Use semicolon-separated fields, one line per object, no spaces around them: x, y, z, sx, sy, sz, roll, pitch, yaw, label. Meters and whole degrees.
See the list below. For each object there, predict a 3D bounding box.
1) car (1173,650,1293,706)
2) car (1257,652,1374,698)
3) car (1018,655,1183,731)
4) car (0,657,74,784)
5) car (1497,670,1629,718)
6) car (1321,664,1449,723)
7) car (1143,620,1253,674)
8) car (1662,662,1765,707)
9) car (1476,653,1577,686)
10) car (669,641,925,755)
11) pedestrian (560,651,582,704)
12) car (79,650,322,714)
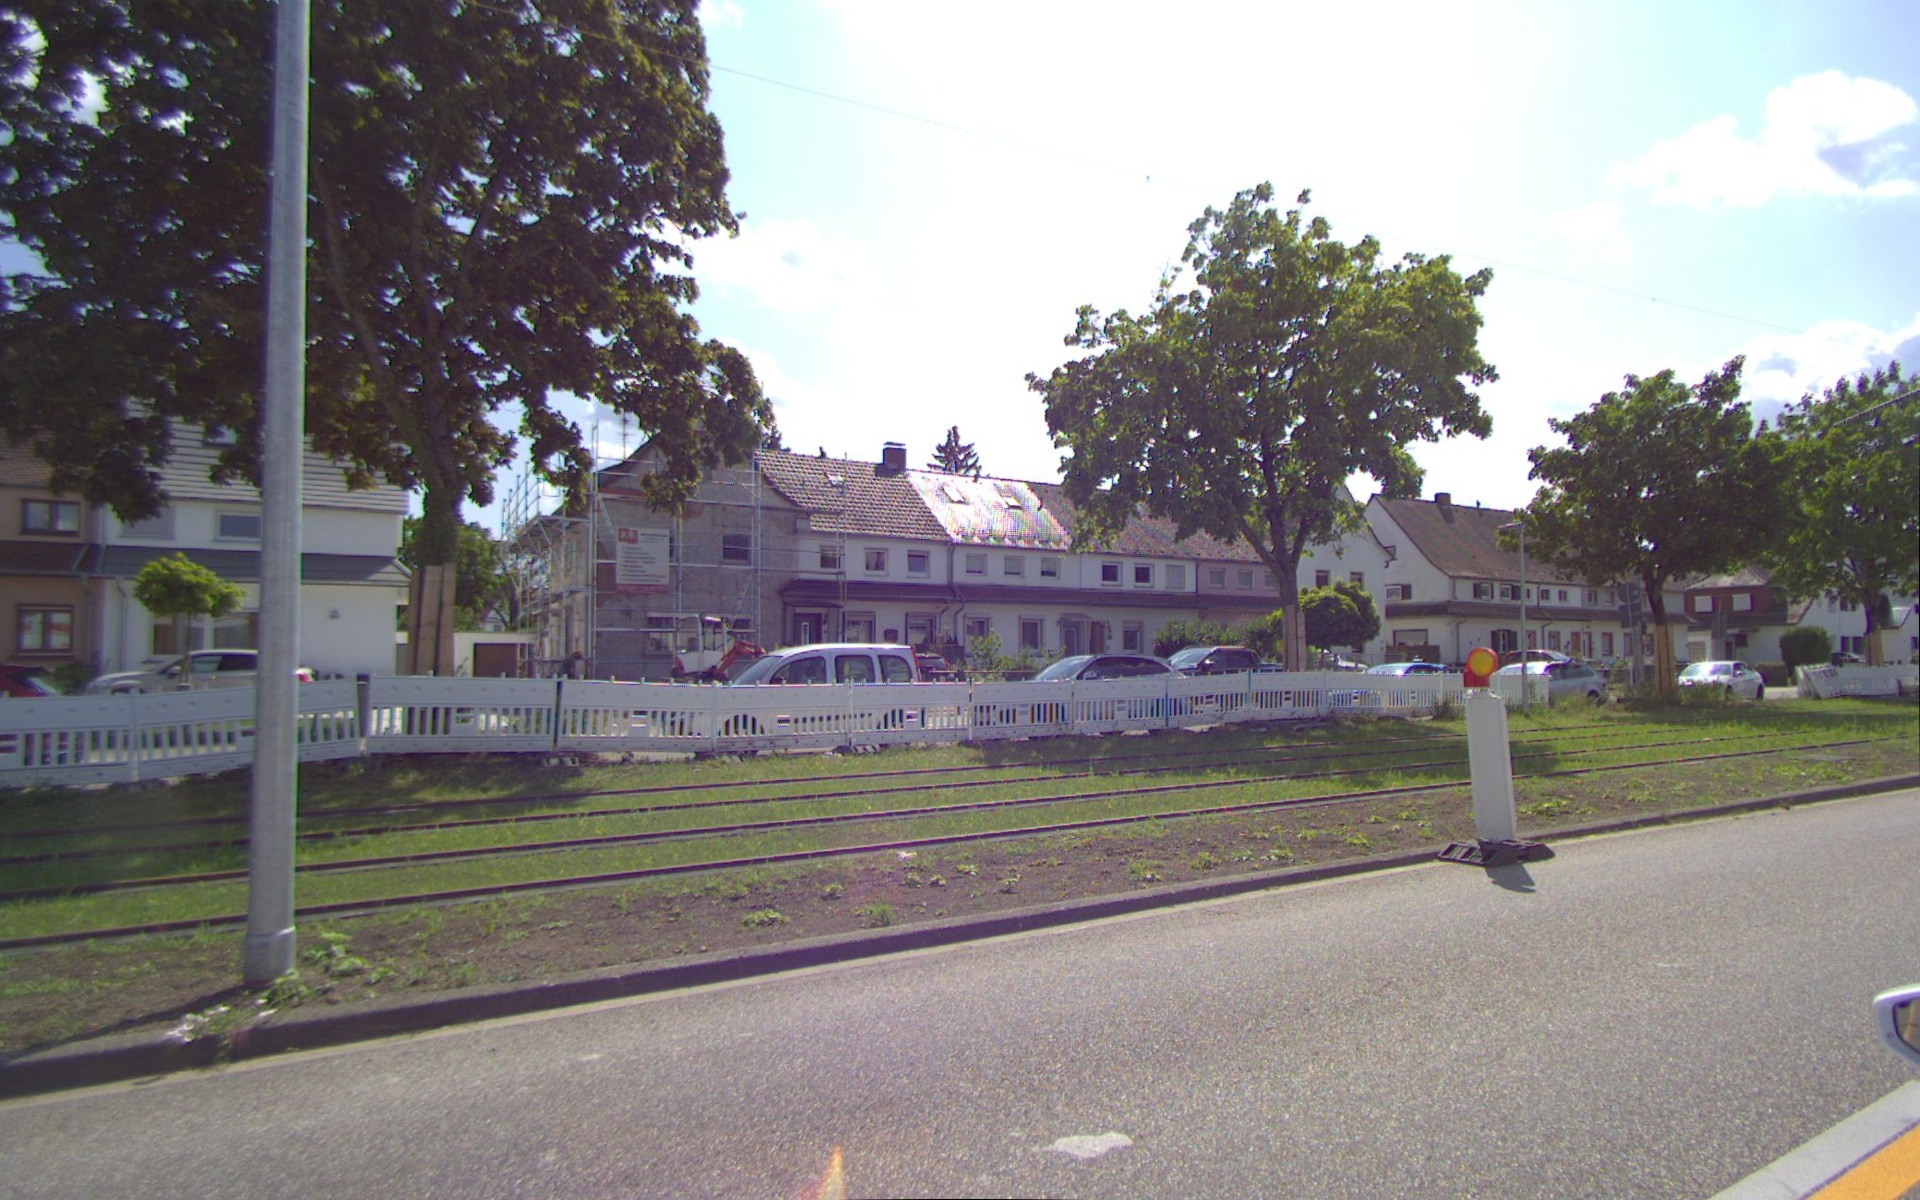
7.752;2.184;28.477;3.272;1.514;1.377;2;-4;-31;car
14.922;3.121;42.368;1.784;1.708;4.370;3;-2;-39;car
2.798;1.819;19.873;3.078;1.395;1.344;2;-5;-30;car
-11.388;1.302;10.877;2.417;1.365;1.069;2;-5;-27;car
16.515;2.525;27.464;3.704;1.192;1.496;2;-4;-30;car
10.437;2.243;24.622;3.136;1.342;1.333;2;-4;-33;car
9.345;1.856;39.422;3.954;2.040;1.984;2;-2;-31;car
25.158;2.792;33.482;4.211;1.394;1.530;2;-5;-36;car
27.642;3.373;49.147;1.706;1.529;3.967;2;-4;-30;car
-2.634;1.576;16.522;3.854;1.672;1.615;2;-5;-30;car
-10.370;2.058;26.785;0.465;1.394;0.420;2;-2;-30;pedestrian
-16.591;1.804;22.225;4.072;1.291;1.527;2;-5;-30;car
